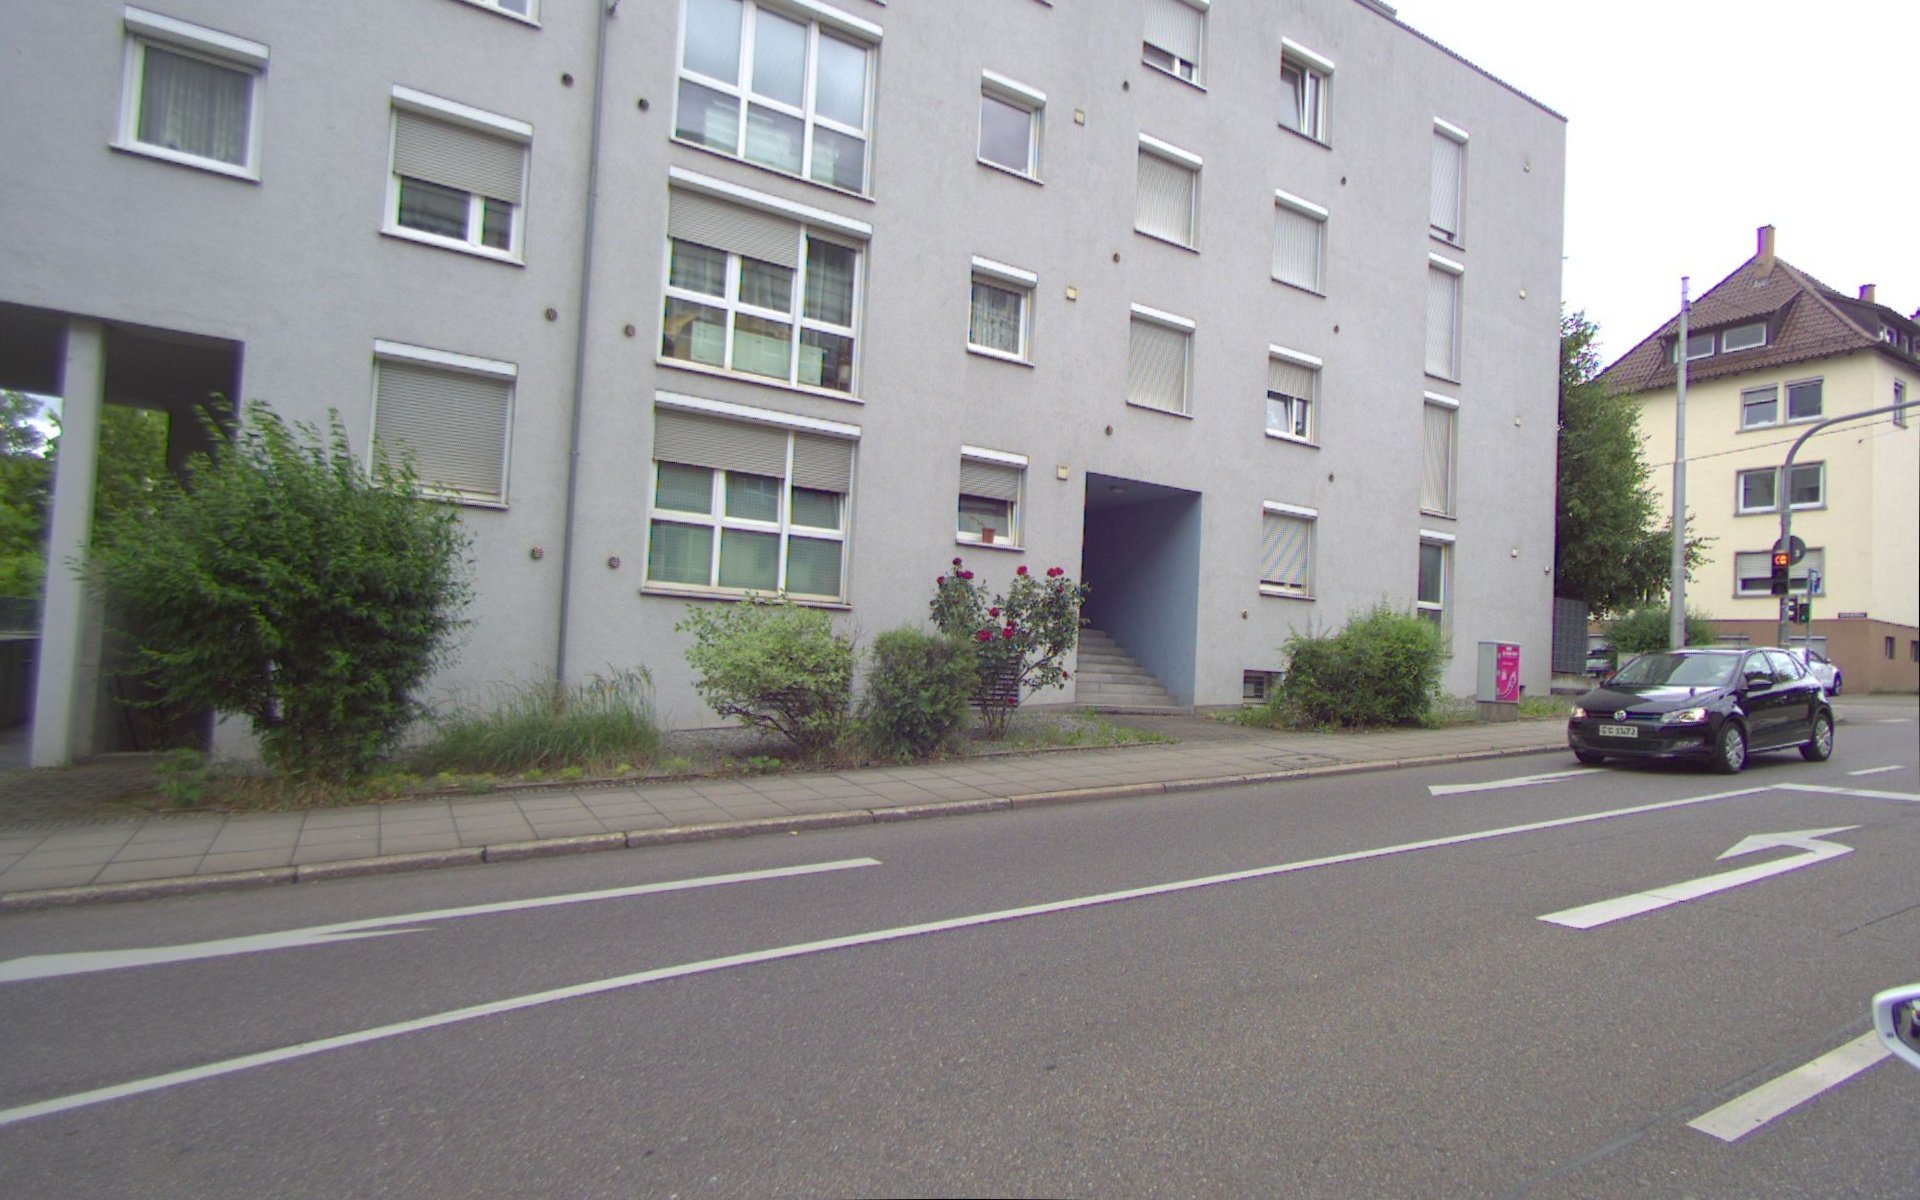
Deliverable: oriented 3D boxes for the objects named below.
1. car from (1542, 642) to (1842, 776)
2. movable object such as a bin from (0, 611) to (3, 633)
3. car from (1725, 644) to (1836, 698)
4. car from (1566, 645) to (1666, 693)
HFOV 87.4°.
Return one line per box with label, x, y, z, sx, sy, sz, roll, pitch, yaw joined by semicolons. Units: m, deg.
car;9.109;1.259;12.453;3.751;1.418;1.665;1;-4;-32
movable object such as a bin;-10.663;0.793;10.053;1.177;1.497;1.139;6;-4;-29
car;25.965;2.210;31.768;3.727;1.575;1.681;1;-4;-34
car;23.576;2.448;36.069;3.727;1.629;1.681;1;-4;-34
